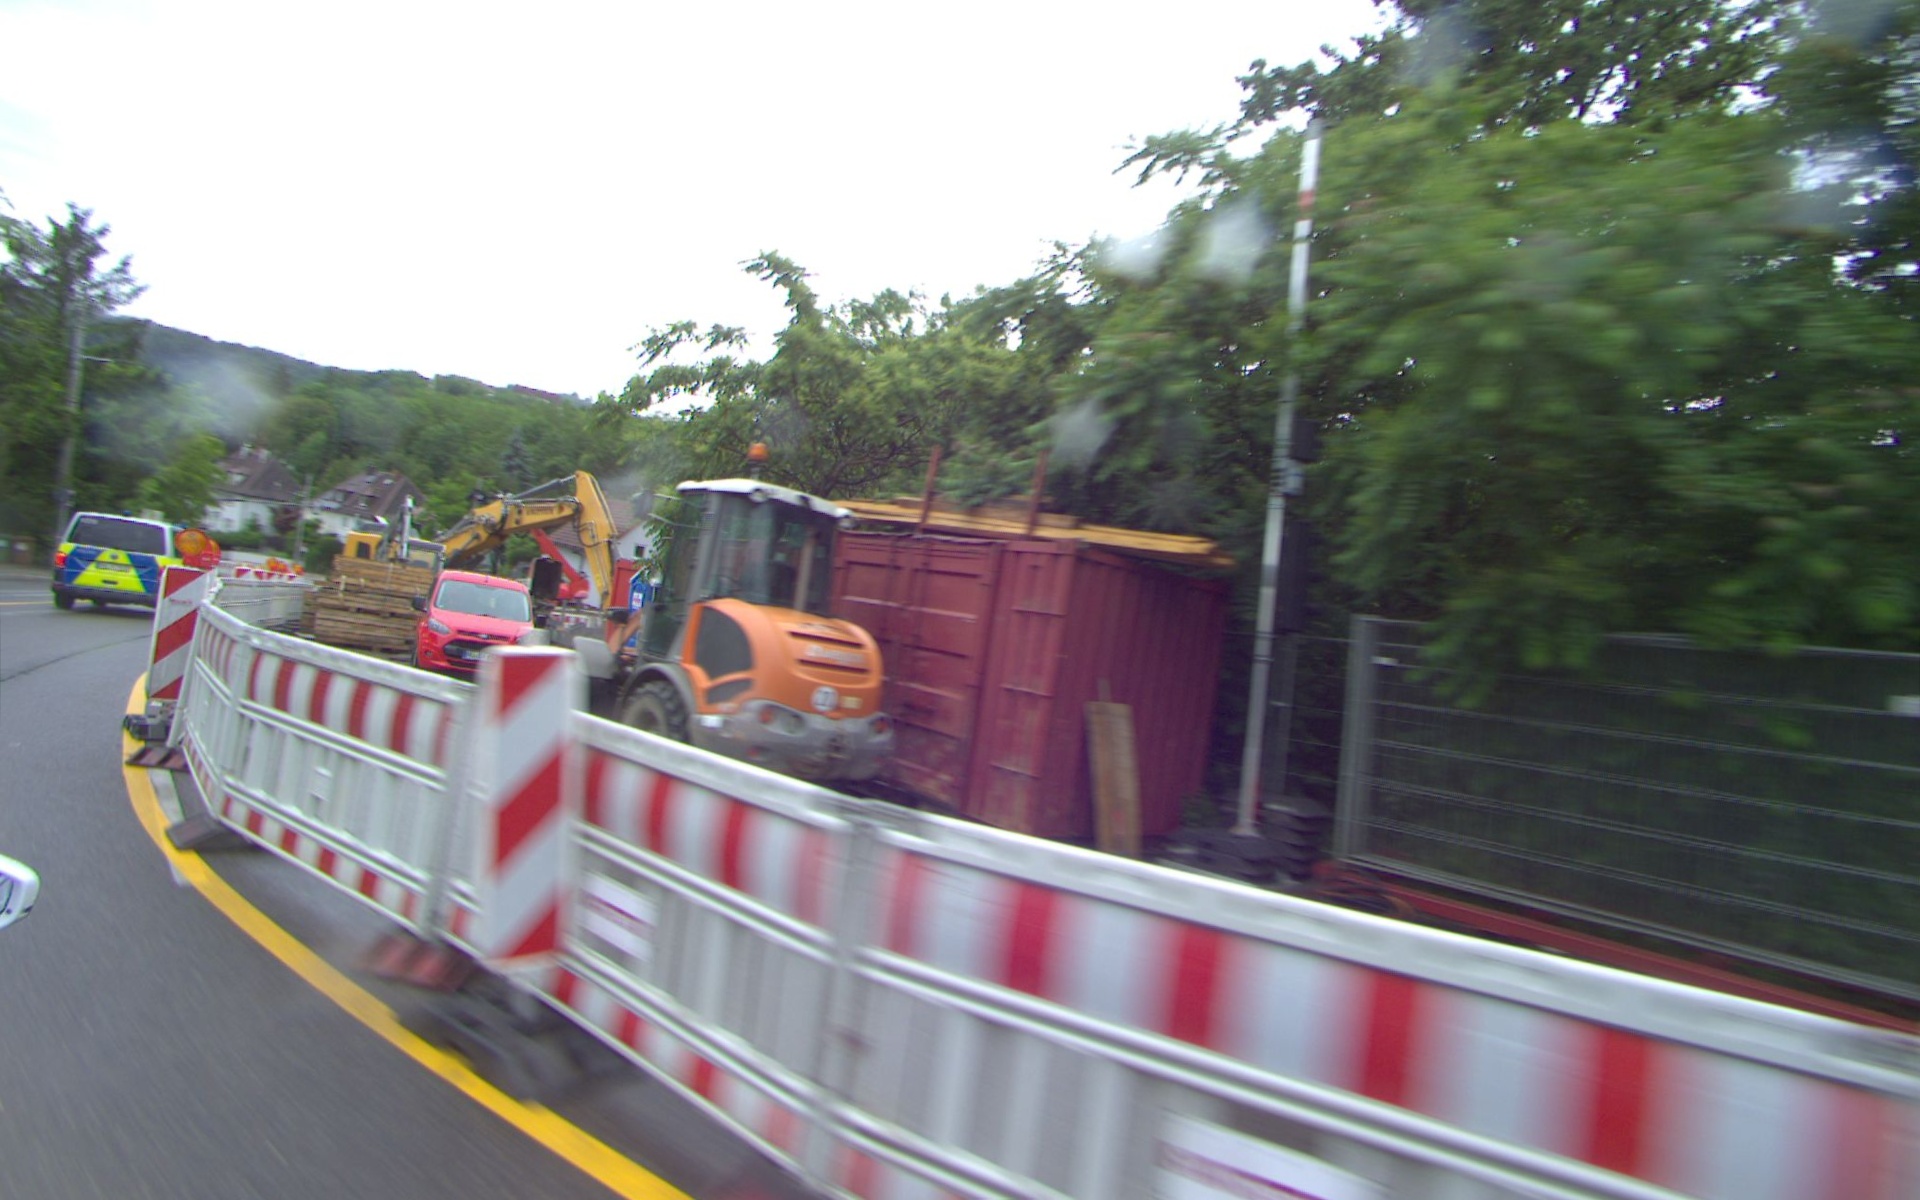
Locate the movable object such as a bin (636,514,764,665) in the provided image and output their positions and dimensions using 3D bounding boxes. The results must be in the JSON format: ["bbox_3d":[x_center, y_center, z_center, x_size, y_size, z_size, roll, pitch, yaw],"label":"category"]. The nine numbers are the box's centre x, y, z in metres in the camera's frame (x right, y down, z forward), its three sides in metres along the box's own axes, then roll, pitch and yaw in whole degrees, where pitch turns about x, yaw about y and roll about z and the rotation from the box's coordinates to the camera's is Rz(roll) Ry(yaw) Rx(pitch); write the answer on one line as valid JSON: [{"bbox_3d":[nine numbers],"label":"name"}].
[{"bbox_3d":[-7.824,-0.321,29.930,1.981,3.932,4.580,9,-2,-31],"label":"movable object such as a bin"}]

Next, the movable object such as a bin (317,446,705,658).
[{"bbox_3d":[-12.593,-1.417,27.912,10.627,4.970,3.070,4,-4,24],"label":"movable object such as a bin"}]

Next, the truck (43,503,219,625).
[{"bbox_3d":[-17.391,-0.858,21.361,1.979,2.039,4.694,7,2,-30],"label":"truck"}]

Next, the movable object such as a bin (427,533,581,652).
[{"bbox_3d":[-15.752,-0.221,34.805,3.973,3.243,2.379,10,2,-39],"label":"movable object such as a bin"}]

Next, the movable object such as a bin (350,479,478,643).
[{"bbox_3d":[-13.001,-0.789,23.840,1.981,3.340,3.806,8,-5,-33],"label":"movable object such as a bin"}]

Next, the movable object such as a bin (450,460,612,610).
[{"bbox_3d":[-22.985,-3.317,54.048,6.909,6.765,3.019,9,-2,-34],"label":"movable object such as a bin"}]

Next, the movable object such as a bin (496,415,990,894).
[{"bbox_3d":[-2.410,0.164,9.439,2.067,3.266,5.224,10,3,-37],"label":"movable object such as a bin"}]

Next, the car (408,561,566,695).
[{"bbox_3d":[-8.384,0.401,17.547,1.979,1.799,4.963,9,-3,-29],"label":"car"}]
